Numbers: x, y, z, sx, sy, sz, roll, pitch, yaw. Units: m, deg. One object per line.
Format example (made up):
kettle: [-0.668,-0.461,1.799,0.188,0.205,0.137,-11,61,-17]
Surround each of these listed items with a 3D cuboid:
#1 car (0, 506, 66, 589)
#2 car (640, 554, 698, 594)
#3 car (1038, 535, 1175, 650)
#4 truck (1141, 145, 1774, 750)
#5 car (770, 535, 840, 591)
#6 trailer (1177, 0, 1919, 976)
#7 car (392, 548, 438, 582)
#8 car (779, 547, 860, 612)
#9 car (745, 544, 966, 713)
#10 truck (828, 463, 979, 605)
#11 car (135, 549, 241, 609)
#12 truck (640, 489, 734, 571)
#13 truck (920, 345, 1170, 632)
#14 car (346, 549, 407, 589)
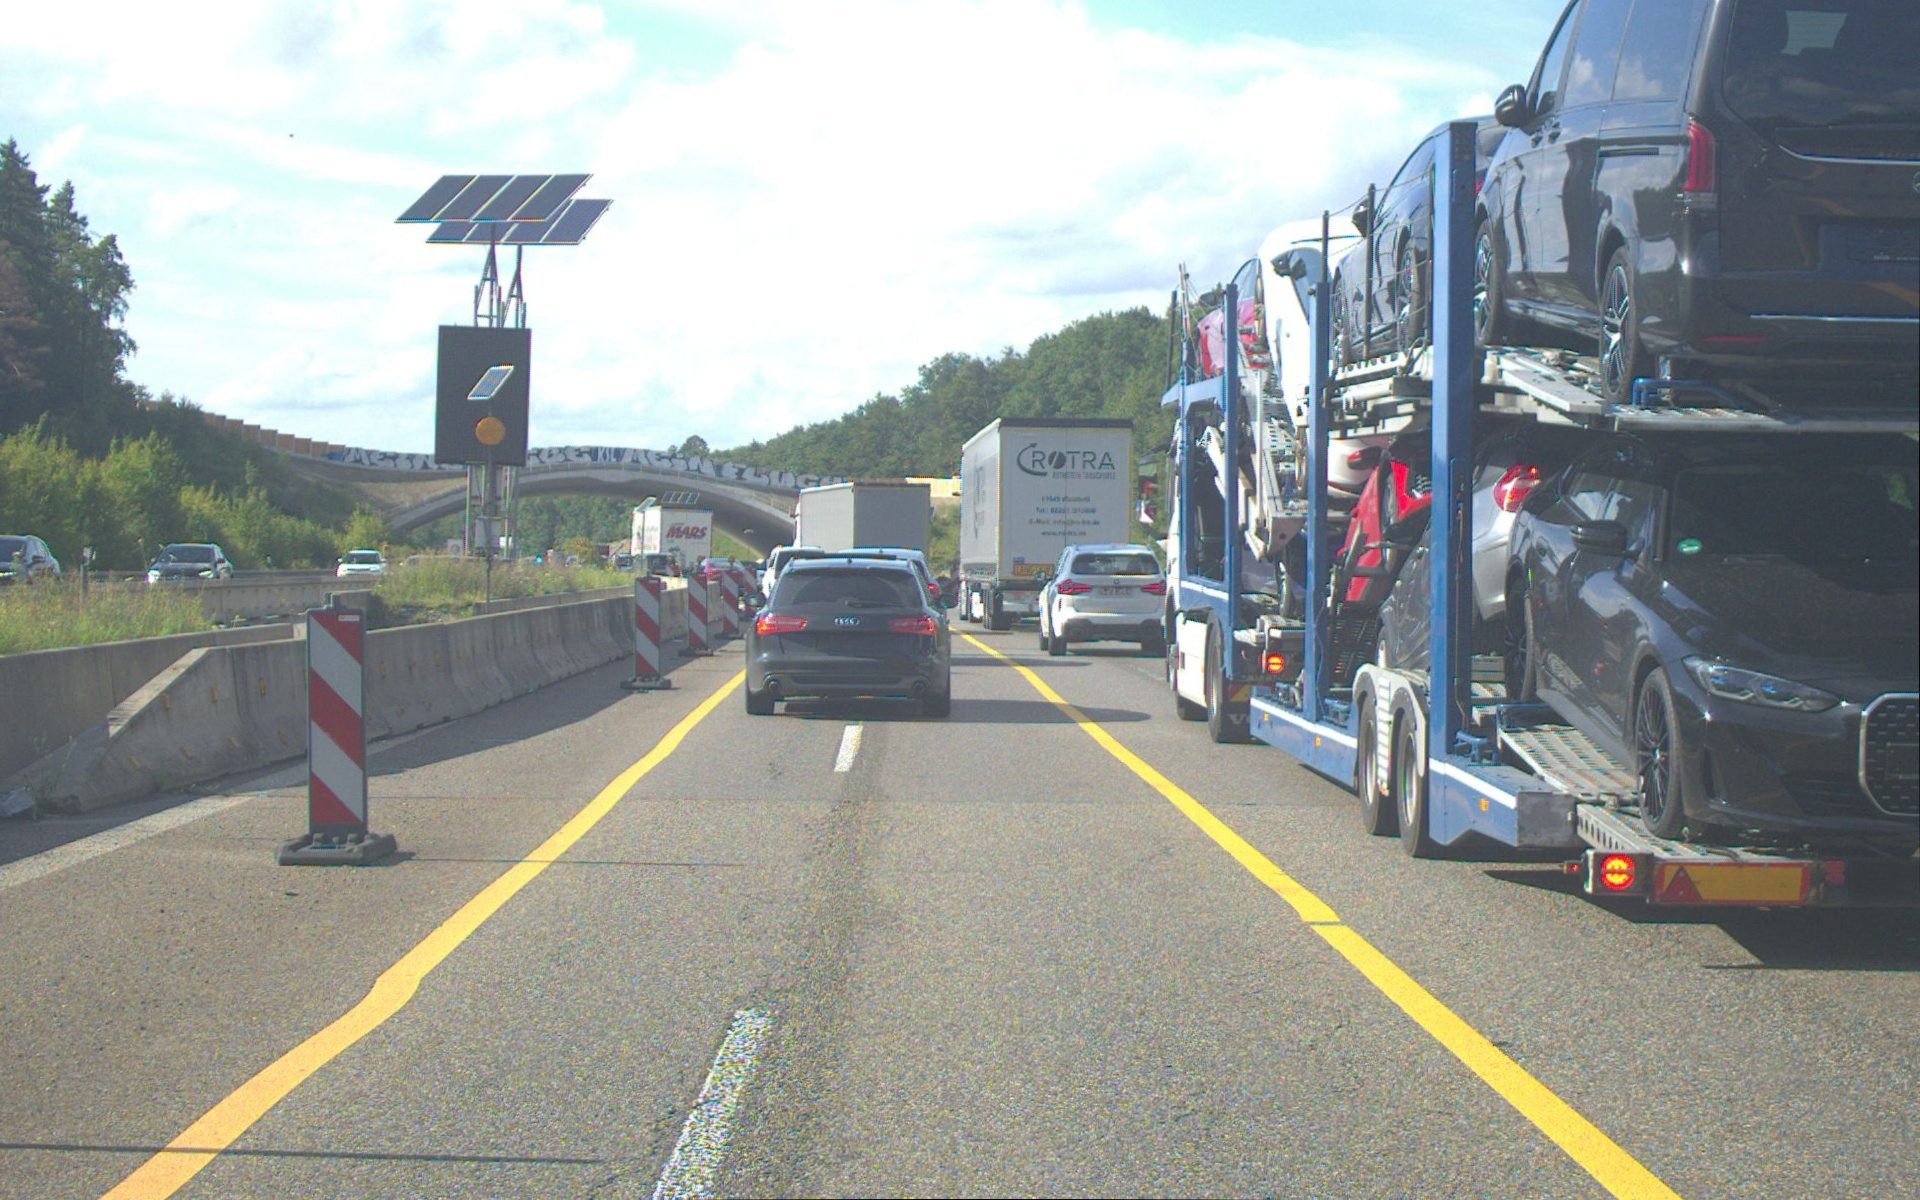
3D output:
car: [-19.145,-1.048,68.093,1.778,1.597,4.018,1,1,0]
car: [-12.099,-1.104,142.815,1.777,1.597,4.019,1,1,-14]
car: [2.176,-0.137,51.947,1.890,1.638,4.018,1,1,0]
truck: [3.707,-1.116,28.140,3.761,4.182,7.951,1,1,-2]
car: [-4.713,-1.115,104.022,1.890,1.638,4.018,1,1,-5]
trailer: [3.866,-0.910,19.728,3.726,4.182,16.229,1,1,-2]
car: [-26.589,-1.731,167.798,1.778,1.597,4.677,1,1,-4]
car: [-3.688,-0.550,89.796,1.890,1.638,4.018,1,1,-5]
car: [-0.911,0.223,32.001,1.890,1.441,4.000,1,1,0]
truck: [-2.052,-2.224,118.258,4.318,4.584,11.127,1,1,-5]
car: [-21.061,-0.584,93.954,1.958,1.583,4.483,1,1,-1]
truck: [-13.810,-3.495,173.066,3.653,3.915,11.070,1,1,-10]
truck: [1.515,-2.198,72.803,3.677,5.335,16.204,1,1,-4]
car: [-23.925,-1.282,141.167,1.778,1.597,4.018,1,1,0]
